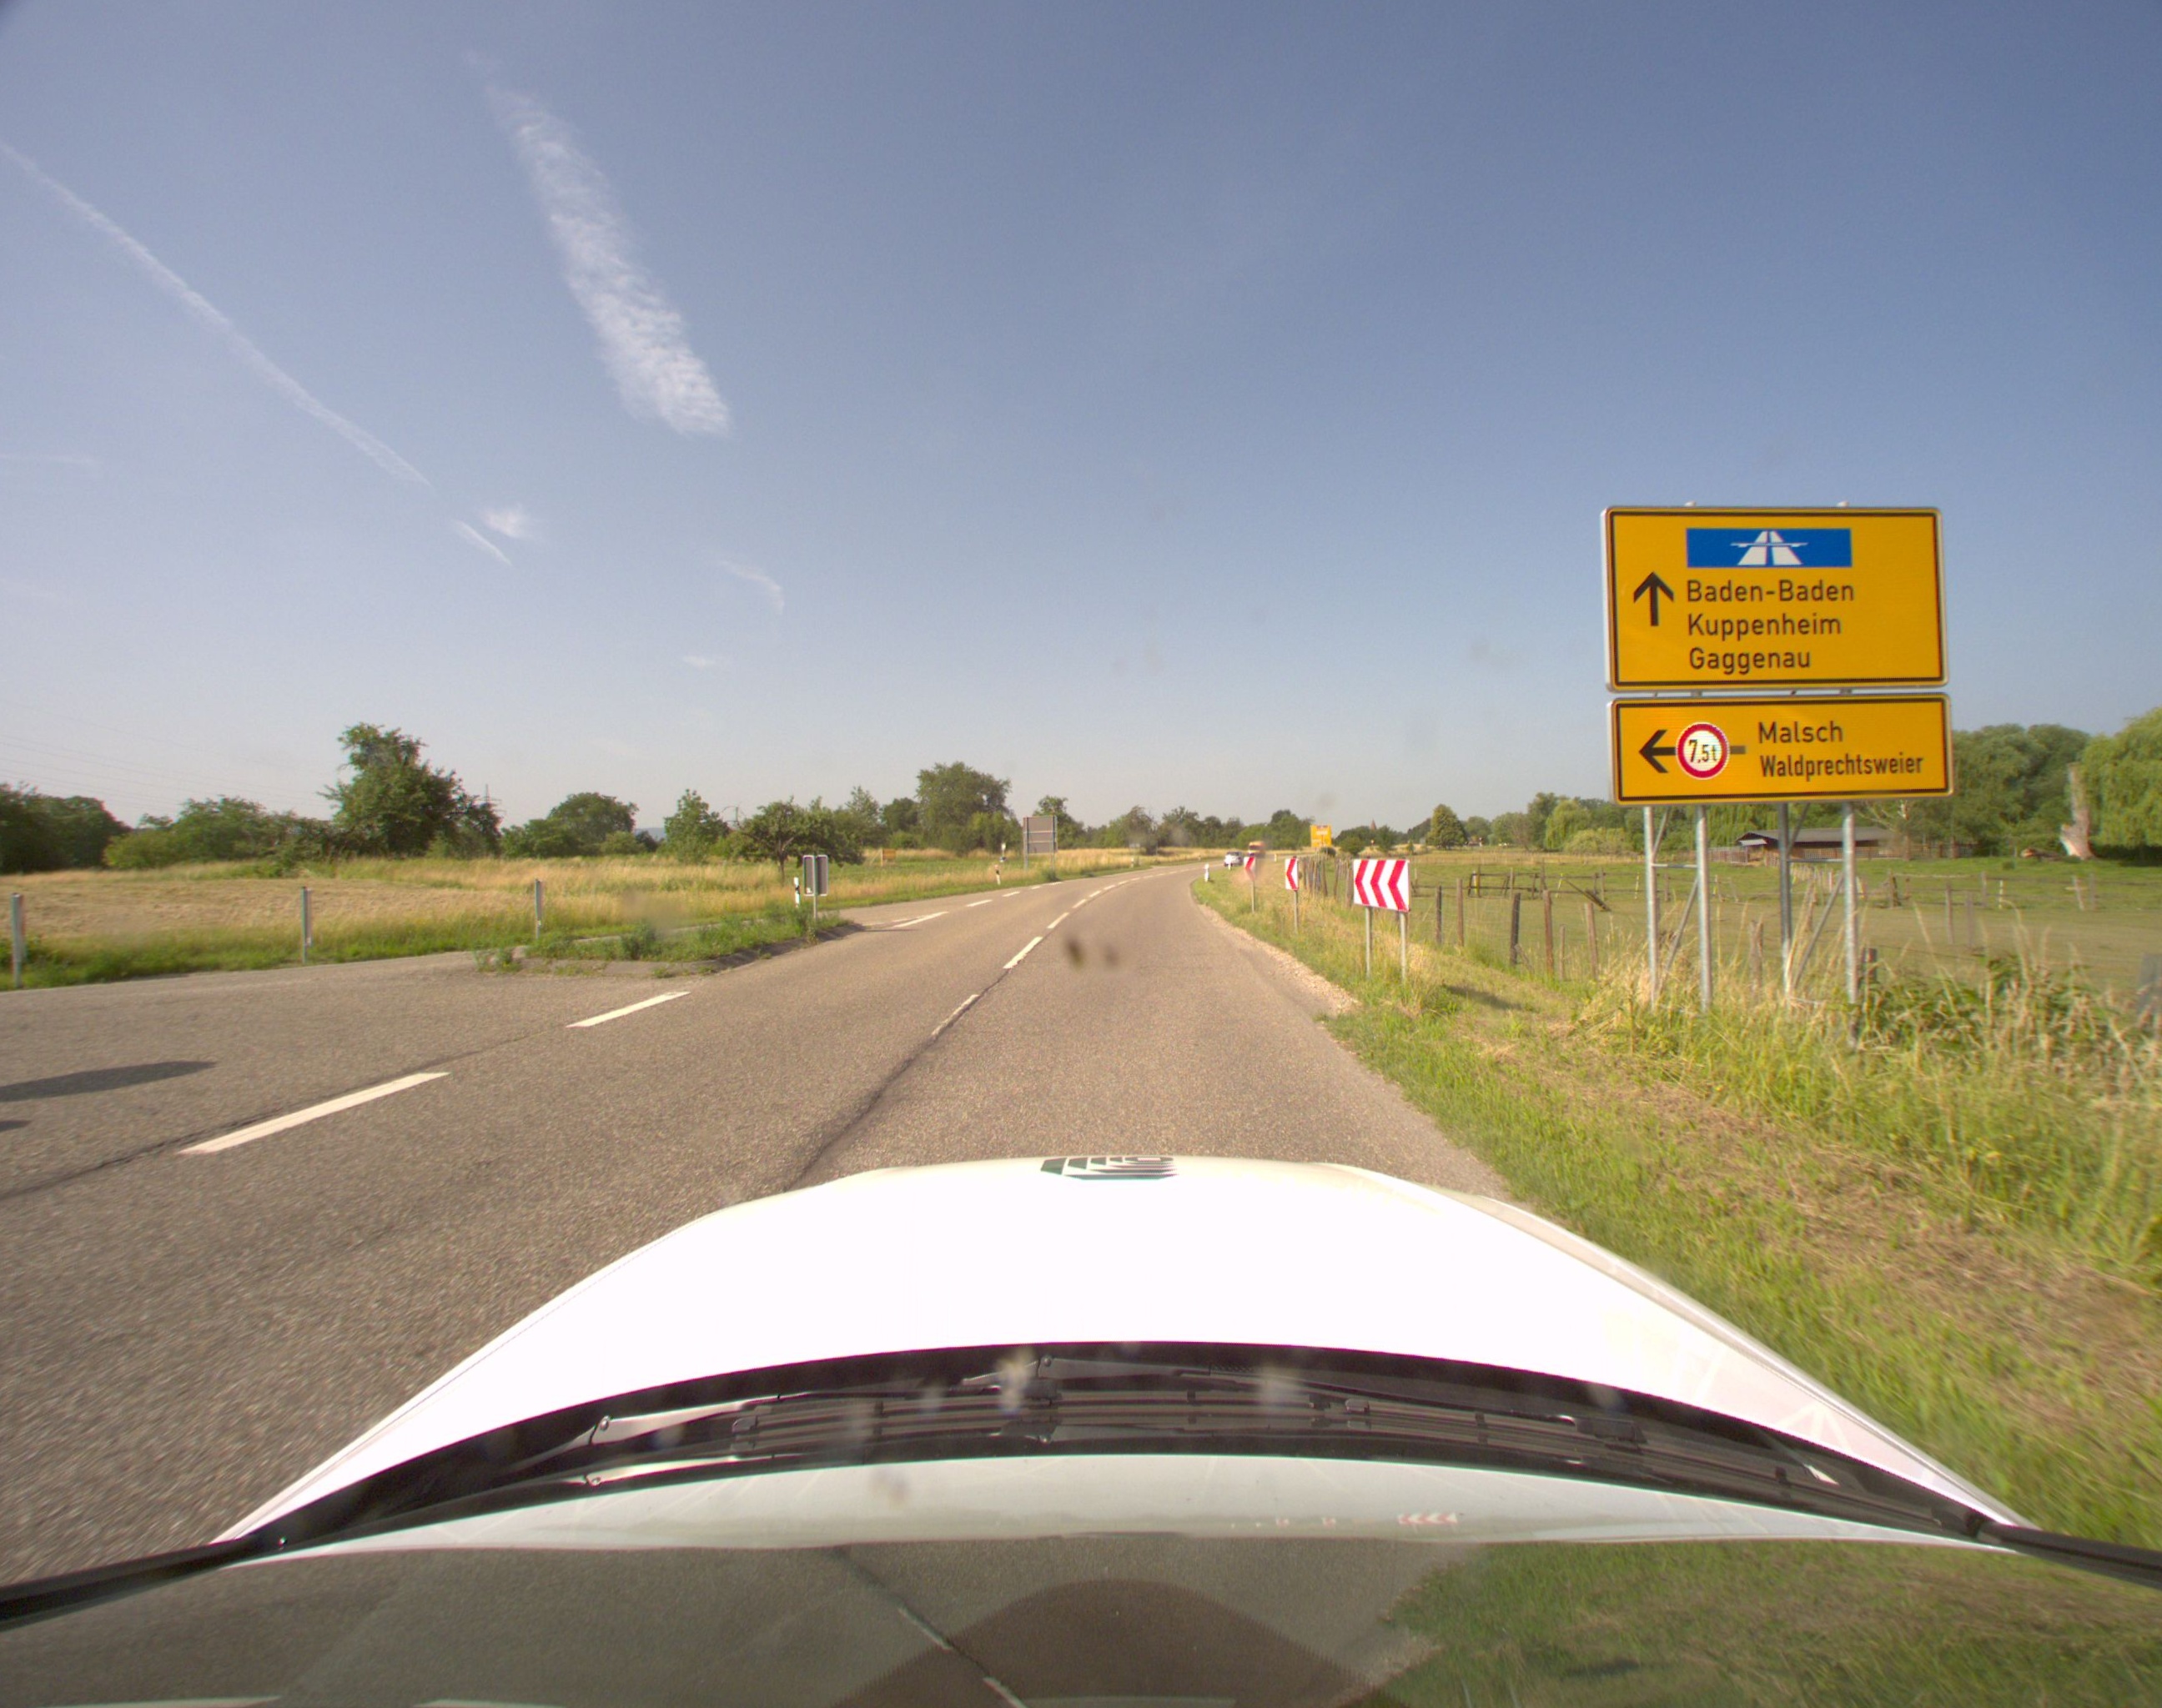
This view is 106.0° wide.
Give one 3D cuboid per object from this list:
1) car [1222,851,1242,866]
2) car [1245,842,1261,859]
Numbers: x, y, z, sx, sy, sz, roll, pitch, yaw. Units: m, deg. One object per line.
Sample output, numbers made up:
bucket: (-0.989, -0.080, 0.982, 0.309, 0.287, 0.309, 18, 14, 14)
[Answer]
car: (16.180, 0.488, 87.334, 1.886, 1.512, 4.015, 0, 0, 14)
car: (26.648, -0.559, 126.245, 2.108, 2.696, 5.289, -1, 0, 15)
